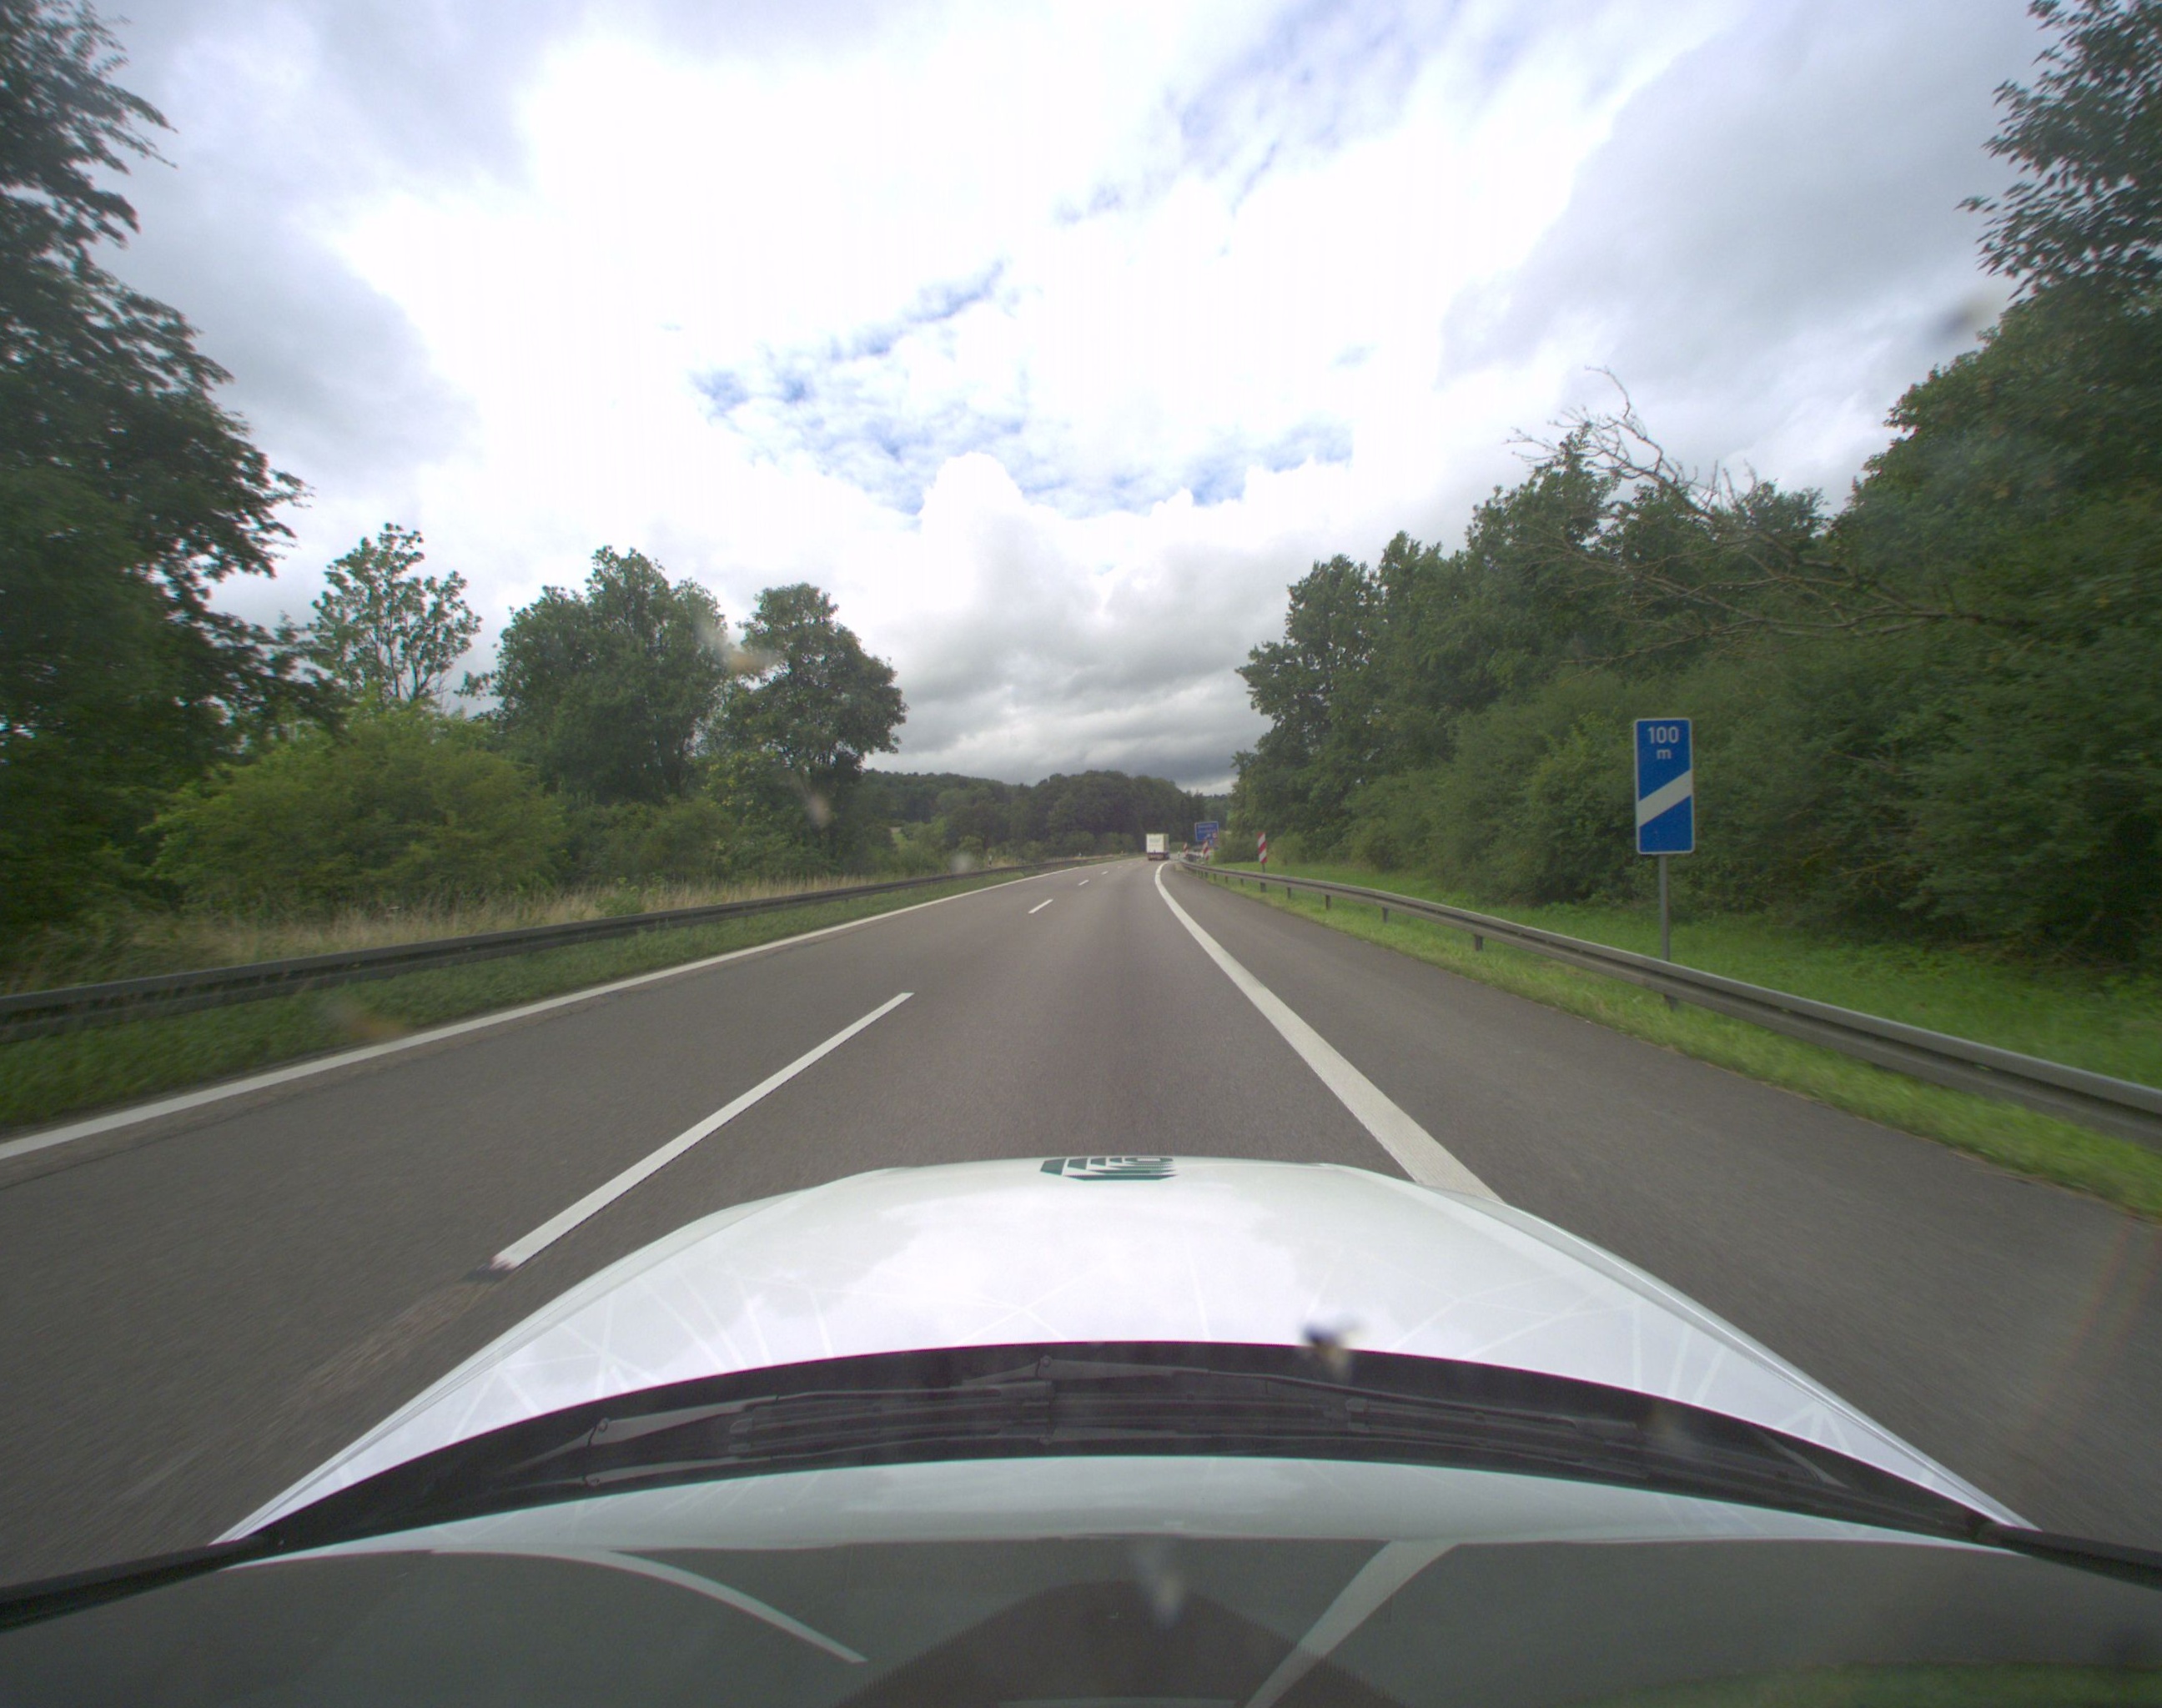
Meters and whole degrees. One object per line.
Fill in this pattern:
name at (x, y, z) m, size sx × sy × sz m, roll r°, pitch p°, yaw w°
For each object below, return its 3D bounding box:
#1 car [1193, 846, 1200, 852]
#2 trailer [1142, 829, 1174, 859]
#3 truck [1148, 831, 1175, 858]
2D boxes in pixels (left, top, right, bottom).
car at (33.869, -1.409, 238.198) m, size 1.890 × 1.795 × 4.012 m, roll -1°, pitch -1°, yaw 11°
trailer at (11.929, -1.496, 124.836) m, size 3.783 × 4.174 × 14.847 m, roll -2°, pitch 0°, yaw 9°
truck at (13.159, -1.579, 132.168) m, size 3.765 × 4.131 × 8.287 m, roll -2°, pitch 0°, yaw 9°
